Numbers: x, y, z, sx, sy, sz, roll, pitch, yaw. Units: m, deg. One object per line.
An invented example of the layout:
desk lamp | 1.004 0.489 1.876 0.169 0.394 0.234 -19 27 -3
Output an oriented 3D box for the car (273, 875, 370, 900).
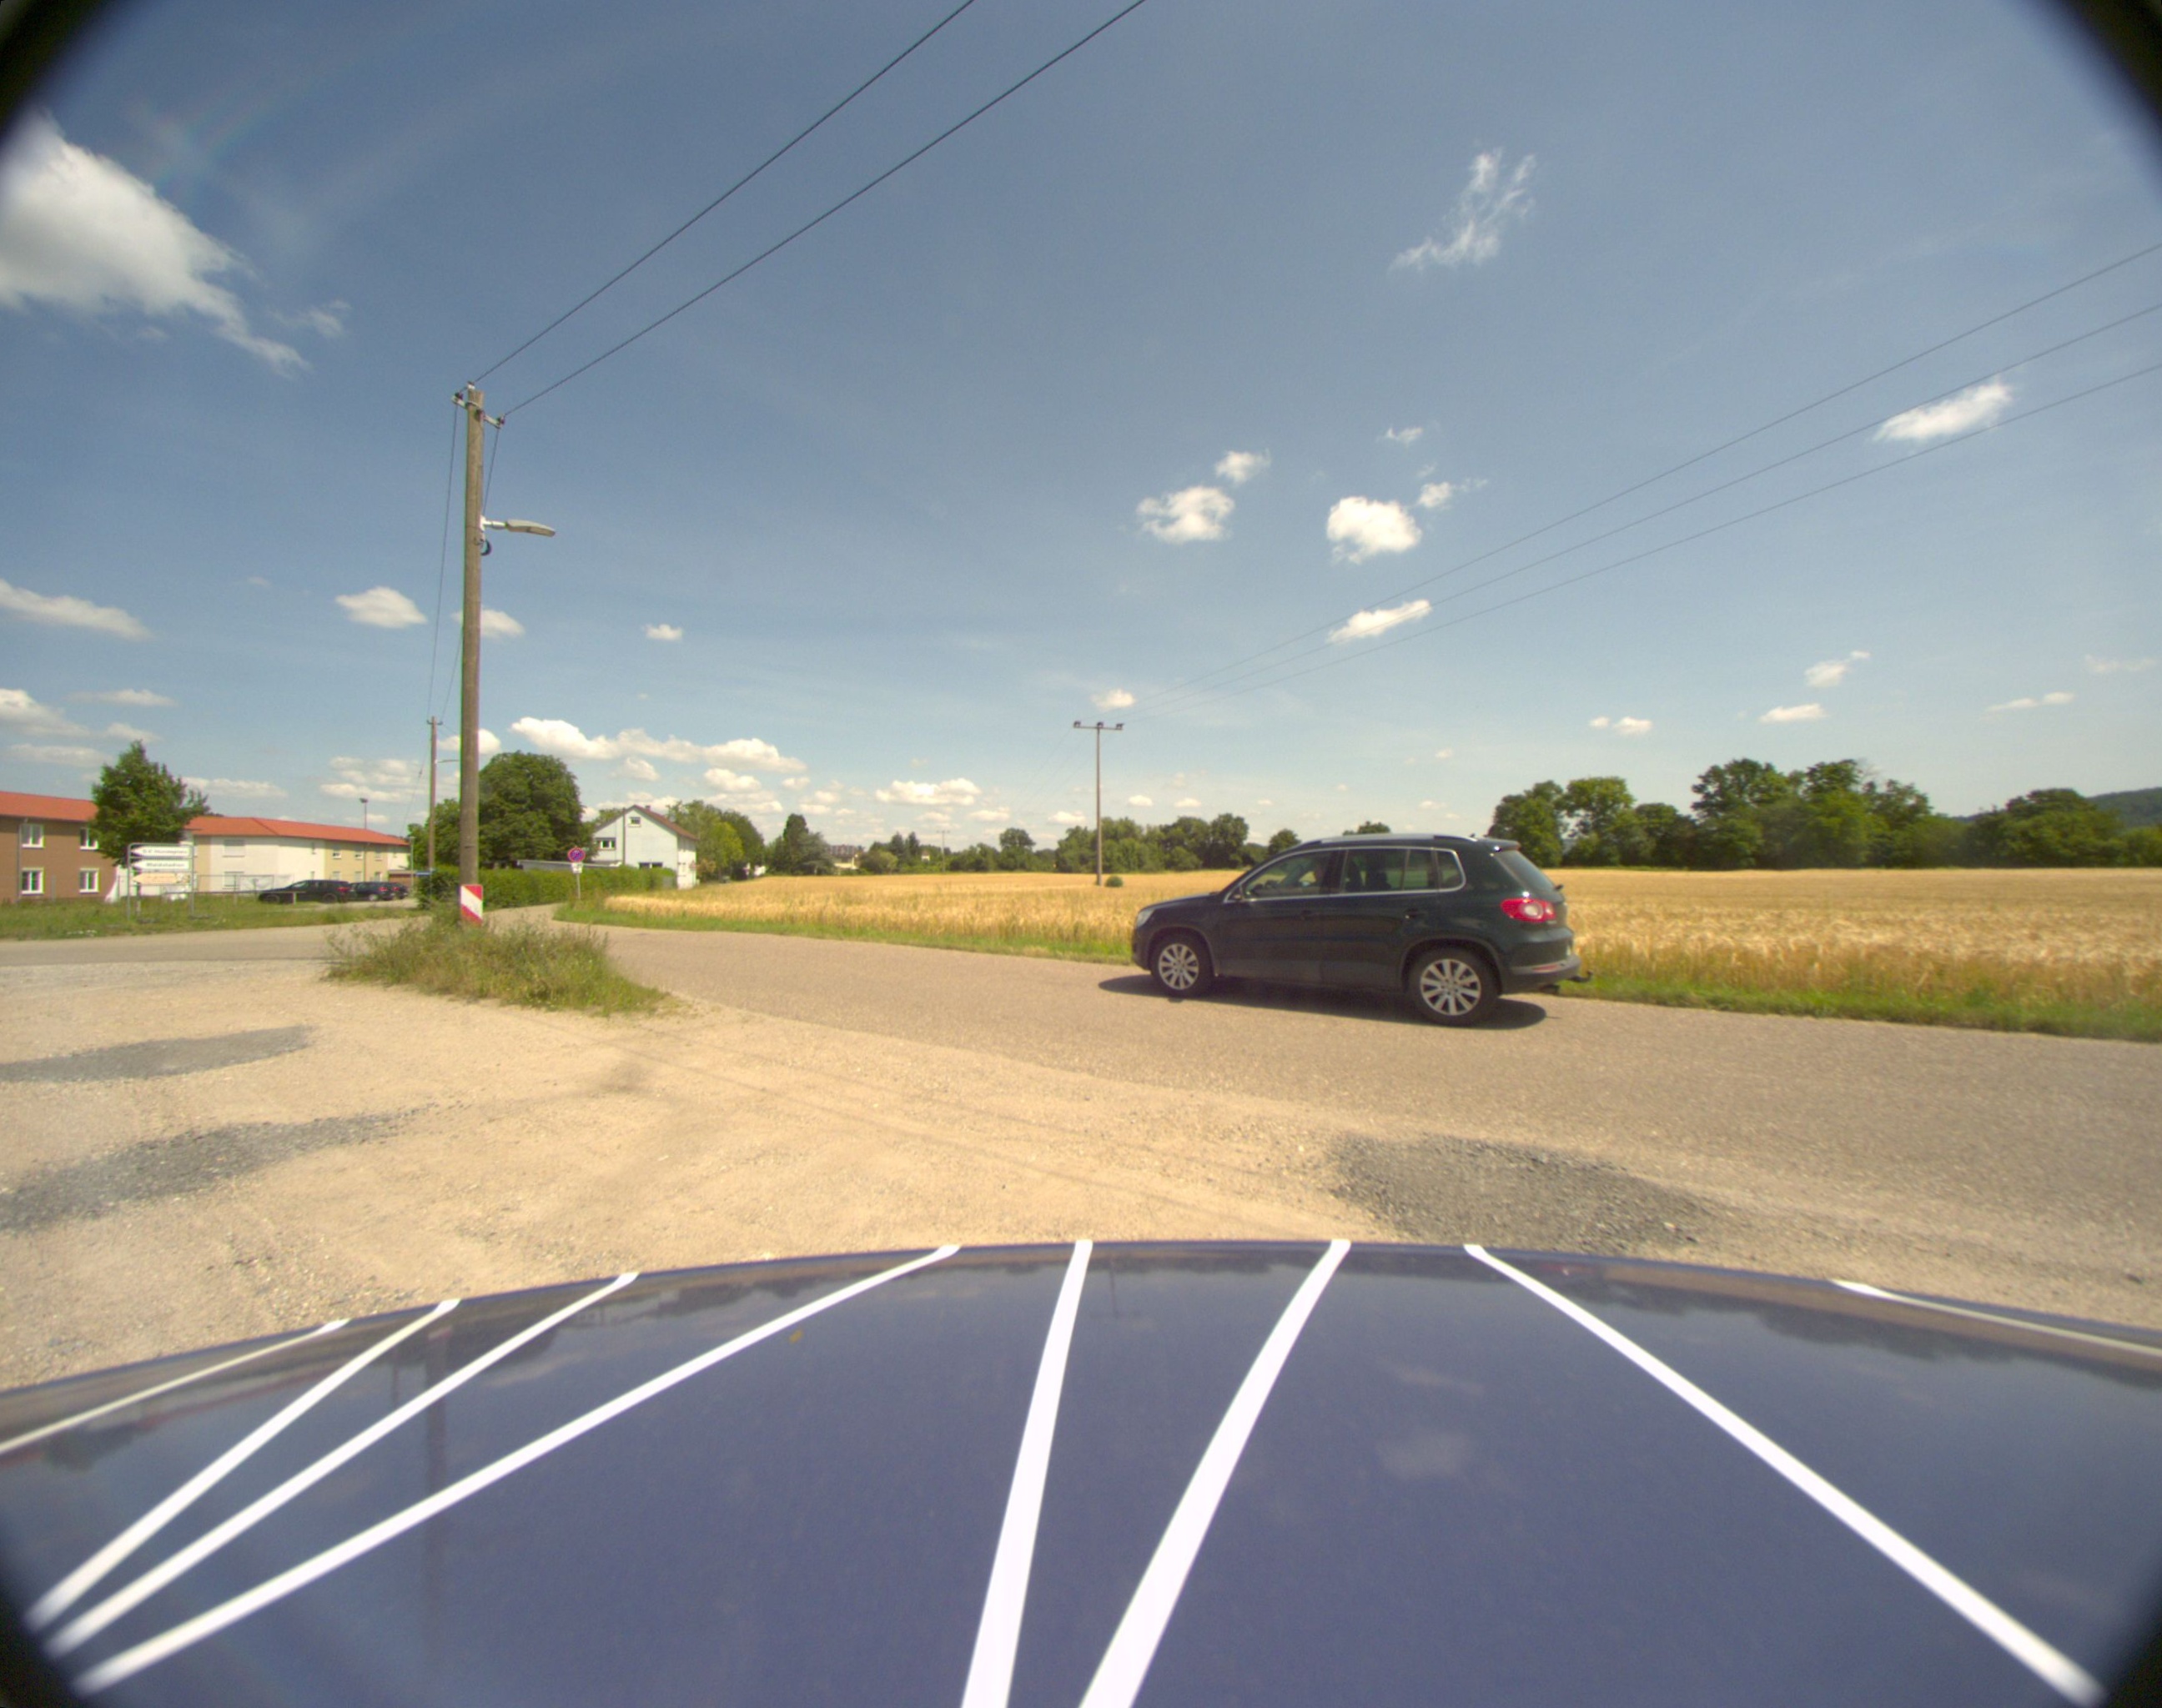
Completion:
car | -51.149 2.259 51.291 4.153 1.605 1.997 0 -1 -21

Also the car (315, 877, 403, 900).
car | -52.240 2.474 55.076 4.153 1.605 1.997 0 -1 -21

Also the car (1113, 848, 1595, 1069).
car | 2.584 0.802 7.667 4.243 1.669 1.753 -1 0 36
